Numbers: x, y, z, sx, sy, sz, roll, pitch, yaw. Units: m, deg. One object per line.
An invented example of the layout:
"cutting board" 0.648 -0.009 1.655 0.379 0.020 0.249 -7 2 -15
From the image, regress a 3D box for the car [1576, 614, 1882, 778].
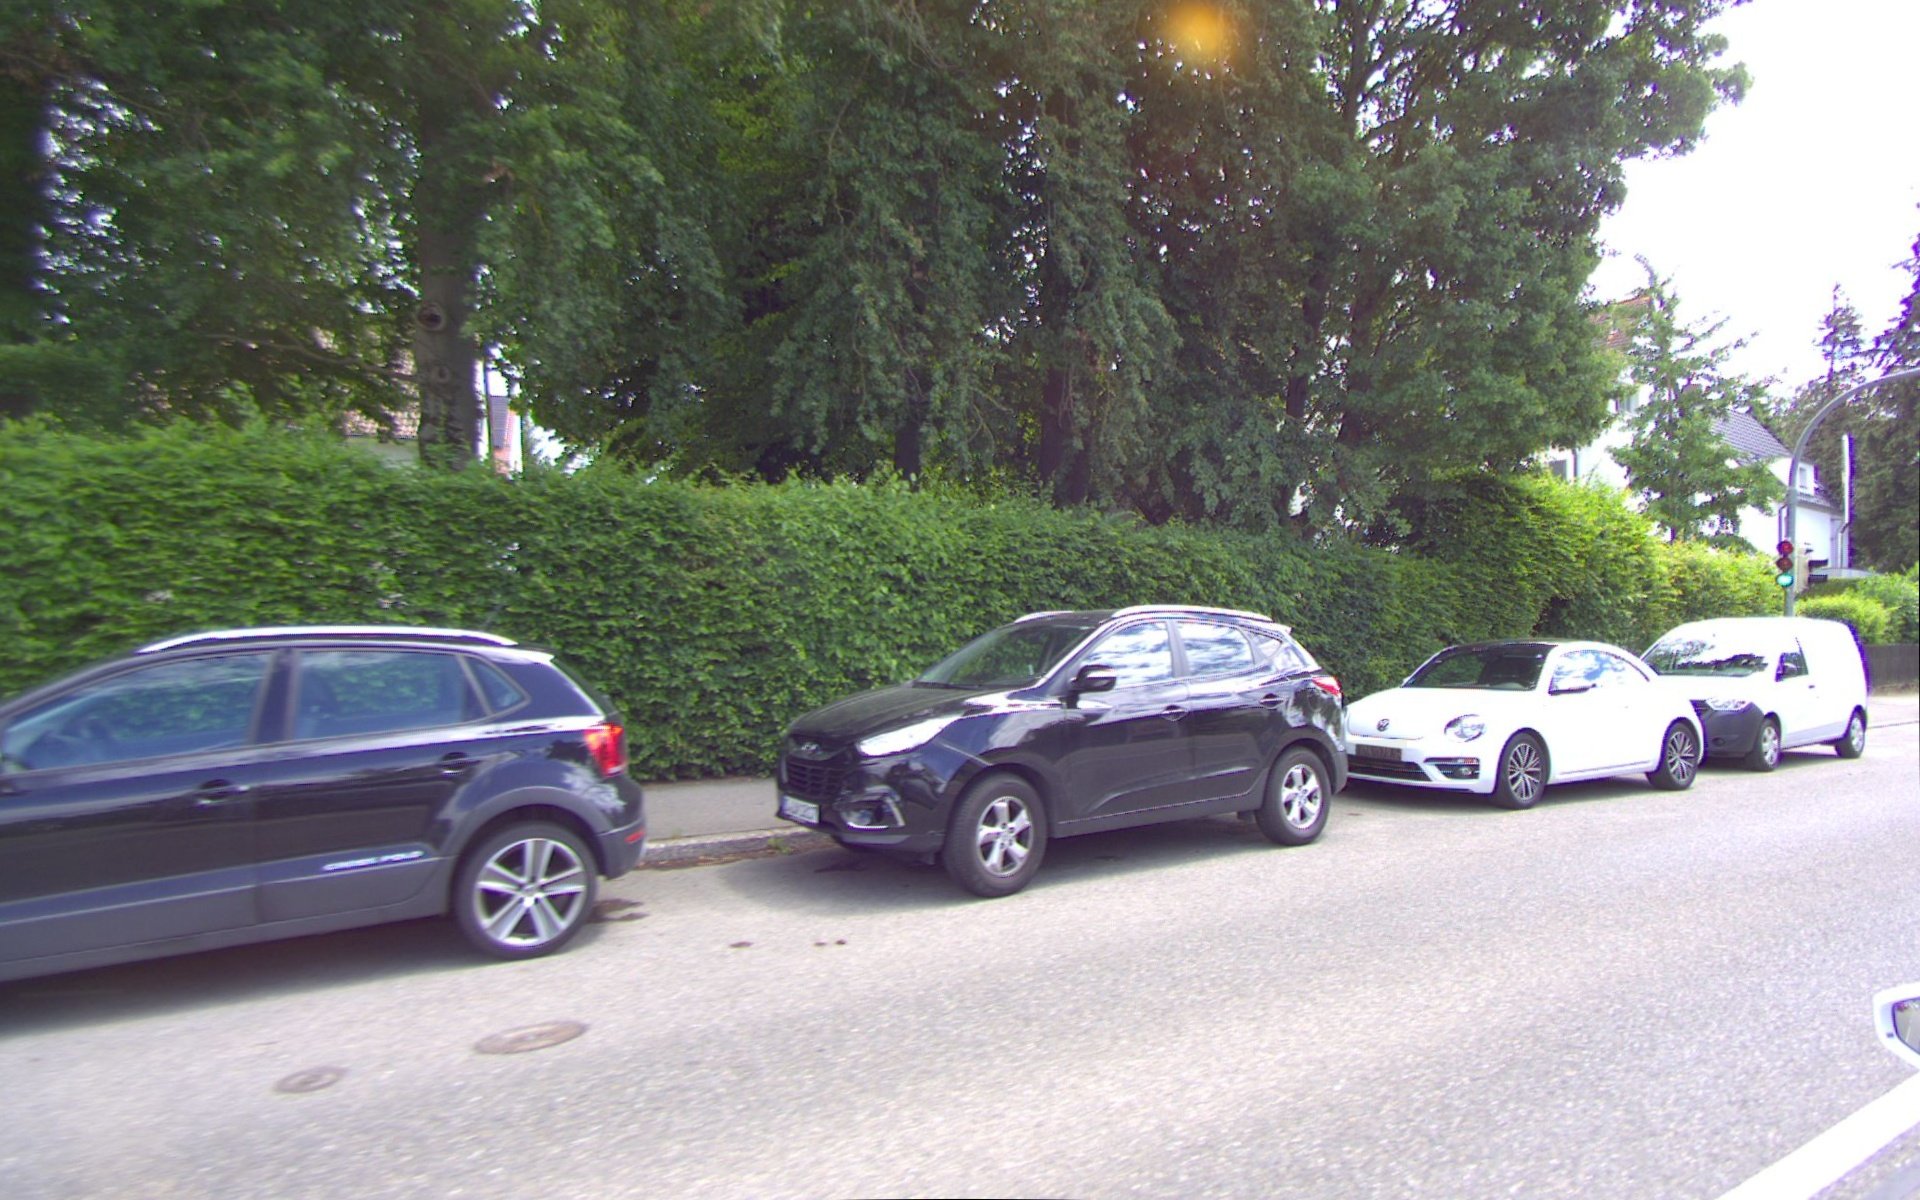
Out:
"car" 9.969 1.129 12.919 4.558 1.781 1.667 1 -3 -33

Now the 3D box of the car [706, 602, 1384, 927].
"car" 0.763 0.880 7.073 4.594 1.615 1.885 1 -1 -33

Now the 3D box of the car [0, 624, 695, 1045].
"car" -3.522 0.861 4.517 4.191 1.478 1.723 1 -1 -33

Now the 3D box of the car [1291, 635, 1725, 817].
"car" 5.495 1.124 9.984 4.303 1.472 1.698 1 -4 -29

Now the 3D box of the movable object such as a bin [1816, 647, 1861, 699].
"movable object such as a bin" 19.608 1.618 22.407 0.740 1.095 0.513 1 2 -32
